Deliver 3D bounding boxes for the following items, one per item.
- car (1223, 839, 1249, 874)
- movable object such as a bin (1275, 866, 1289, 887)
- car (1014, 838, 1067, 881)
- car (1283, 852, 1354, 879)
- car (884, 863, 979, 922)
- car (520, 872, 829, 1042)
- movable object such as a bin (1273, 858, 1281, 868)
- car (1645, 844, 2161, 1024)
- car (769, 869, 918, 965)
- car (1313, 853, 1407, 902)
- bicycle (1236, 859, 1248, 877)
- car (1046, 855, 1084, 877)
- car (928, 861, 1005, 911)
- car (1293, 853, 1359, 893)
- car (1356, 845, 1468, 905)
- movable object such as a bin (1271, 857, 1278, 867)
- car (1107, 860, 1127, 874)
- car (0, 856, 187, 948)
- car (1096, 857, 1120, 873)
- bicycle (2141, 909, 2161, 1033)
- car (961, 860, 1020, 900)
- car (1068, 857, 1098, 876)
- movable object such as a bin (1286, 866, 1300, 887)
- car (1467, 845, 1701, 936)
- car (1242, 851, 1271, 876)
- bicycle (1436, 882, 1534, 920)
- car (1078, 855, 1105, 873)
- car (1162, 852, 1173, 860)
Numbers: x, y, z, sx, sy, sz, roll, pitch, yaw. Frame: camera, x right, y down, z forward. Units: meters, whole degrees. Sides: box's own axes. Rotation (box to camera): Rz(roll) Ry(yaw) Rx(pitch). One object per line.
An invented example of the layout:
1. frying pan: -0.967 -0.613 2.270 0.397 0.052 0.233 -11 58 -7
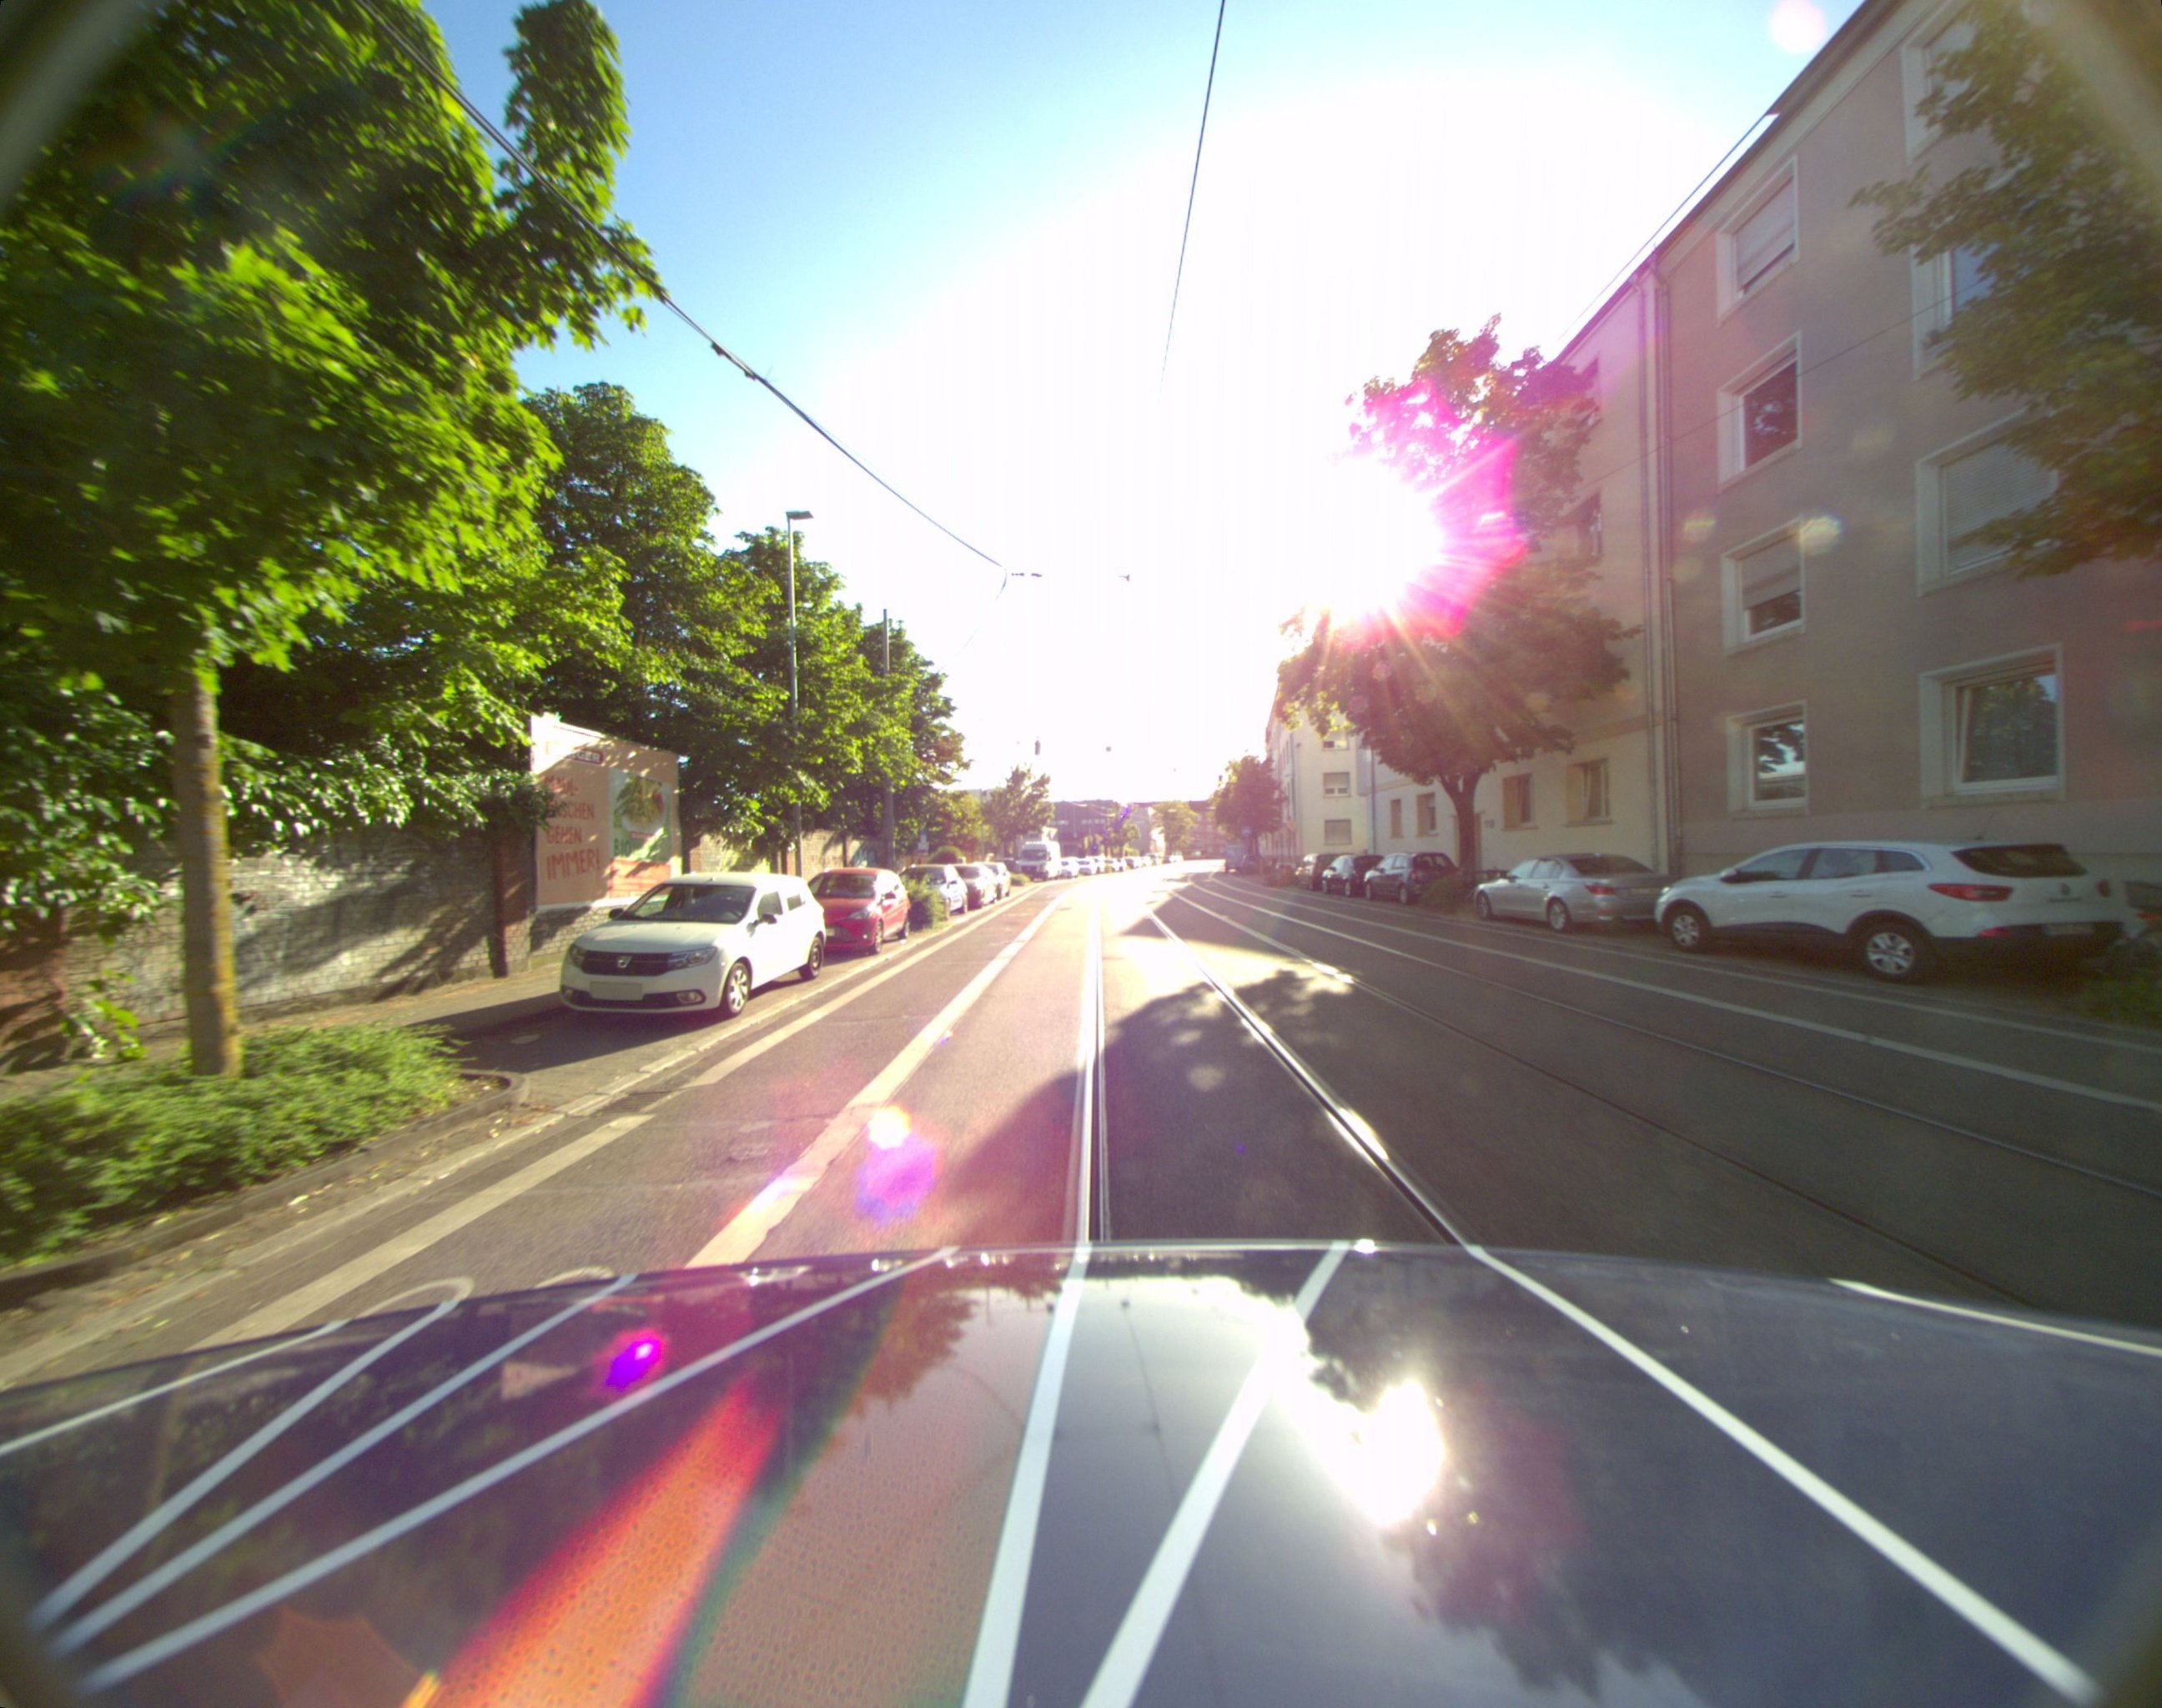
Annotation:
1. car: 13.412 0.162 65.507 2.020 2.809 6.037 -2 0 13
2. movable object such as a bin: 9.731 1.081 36.838 0.486 0.982 0.660 -2 0 4
3. car: -2.615 0.328 50.928 2.184 2.650 6.095 1 1 10
4. car: 14.634 0.705 46.989 3.894 1.449 1.769 -2 0 8
5. car: -4.239 1.039 22.148 1.692 1.521 4.001 0 0 5
6. car: -4.569 1.042 9.315 1.693 1.521 3.999 0 0 -1
7. movable object such as a bin: 18.409 0.814 71.372 0.597 0.929 0.569 -1 0 9
8. car: 9.538 0.768 9.453 1.656 1.658 4.295 -2 0 -3
9. car: -4.411 1.092 14.765 1.693 1.521 3.999 0 0 -1
10. car: 9.966 0.796 27.462 1.791 1.521 3.857 -5 0 -1
11. bicycle: 11.047 0.955 52.202 0.513 1.127 2.032 -2 0 5
12. car: -1.162 0.862 57.506 1.913 1.521 4.604 -1 0 10
13. car: -3.868 1.029 26.389 1.692 1.521 4.356 0 0 5
14. car: 10.056 0.734 31.452 1.692 1.521 4.001 -2 0 5
15. car: 9.953 0.585 23.158 1.595 1.604 3.730 -2 0 -3
16. movable object such as a bin: 18.669 0.804 73.160 0.597 0.929 0.569 -1 0 9
17. car: 4.058 1.462 85.057 1.731 1.455 4.343 -2 0 7
18. car: -22.919 1.054 16.596 4.476 1.814 2.045 -2 0 3
19. car: 2.860 1.141 79.491 1.731 1.455 4.502 -2 0 12
20. bicycle: 10.078 0.956 6.248 1.929 1.040 0.476 -2 0 3
21. car: -3.730 1.025 31.838 1.692 1.521 4.001 0 0 5
22. car: 0.210 1.001 64.303 1.730 1.503 4.255 0 1 12
23. movable object such as a bin: 10.250 1.105 36.798 0.486 0.982 0.660 -2 0 4
24. car: 9.637 0.607 15.109 1.692 1.466 4.661 -2 0 3
25. car: 13.207 0.710 57.436 1.794 1.551 4.646 -9 -1 11
26. bicycle: 10.032 1.163 18.890 2.132 0.820 0.477 -2 0 1
27. car: 0.970 0.890 69.822 1.730 1.595 4.346 1 1 11
28. car: 17.371 0.366 151.896 1.705 1.473 4.662 1 1 11
